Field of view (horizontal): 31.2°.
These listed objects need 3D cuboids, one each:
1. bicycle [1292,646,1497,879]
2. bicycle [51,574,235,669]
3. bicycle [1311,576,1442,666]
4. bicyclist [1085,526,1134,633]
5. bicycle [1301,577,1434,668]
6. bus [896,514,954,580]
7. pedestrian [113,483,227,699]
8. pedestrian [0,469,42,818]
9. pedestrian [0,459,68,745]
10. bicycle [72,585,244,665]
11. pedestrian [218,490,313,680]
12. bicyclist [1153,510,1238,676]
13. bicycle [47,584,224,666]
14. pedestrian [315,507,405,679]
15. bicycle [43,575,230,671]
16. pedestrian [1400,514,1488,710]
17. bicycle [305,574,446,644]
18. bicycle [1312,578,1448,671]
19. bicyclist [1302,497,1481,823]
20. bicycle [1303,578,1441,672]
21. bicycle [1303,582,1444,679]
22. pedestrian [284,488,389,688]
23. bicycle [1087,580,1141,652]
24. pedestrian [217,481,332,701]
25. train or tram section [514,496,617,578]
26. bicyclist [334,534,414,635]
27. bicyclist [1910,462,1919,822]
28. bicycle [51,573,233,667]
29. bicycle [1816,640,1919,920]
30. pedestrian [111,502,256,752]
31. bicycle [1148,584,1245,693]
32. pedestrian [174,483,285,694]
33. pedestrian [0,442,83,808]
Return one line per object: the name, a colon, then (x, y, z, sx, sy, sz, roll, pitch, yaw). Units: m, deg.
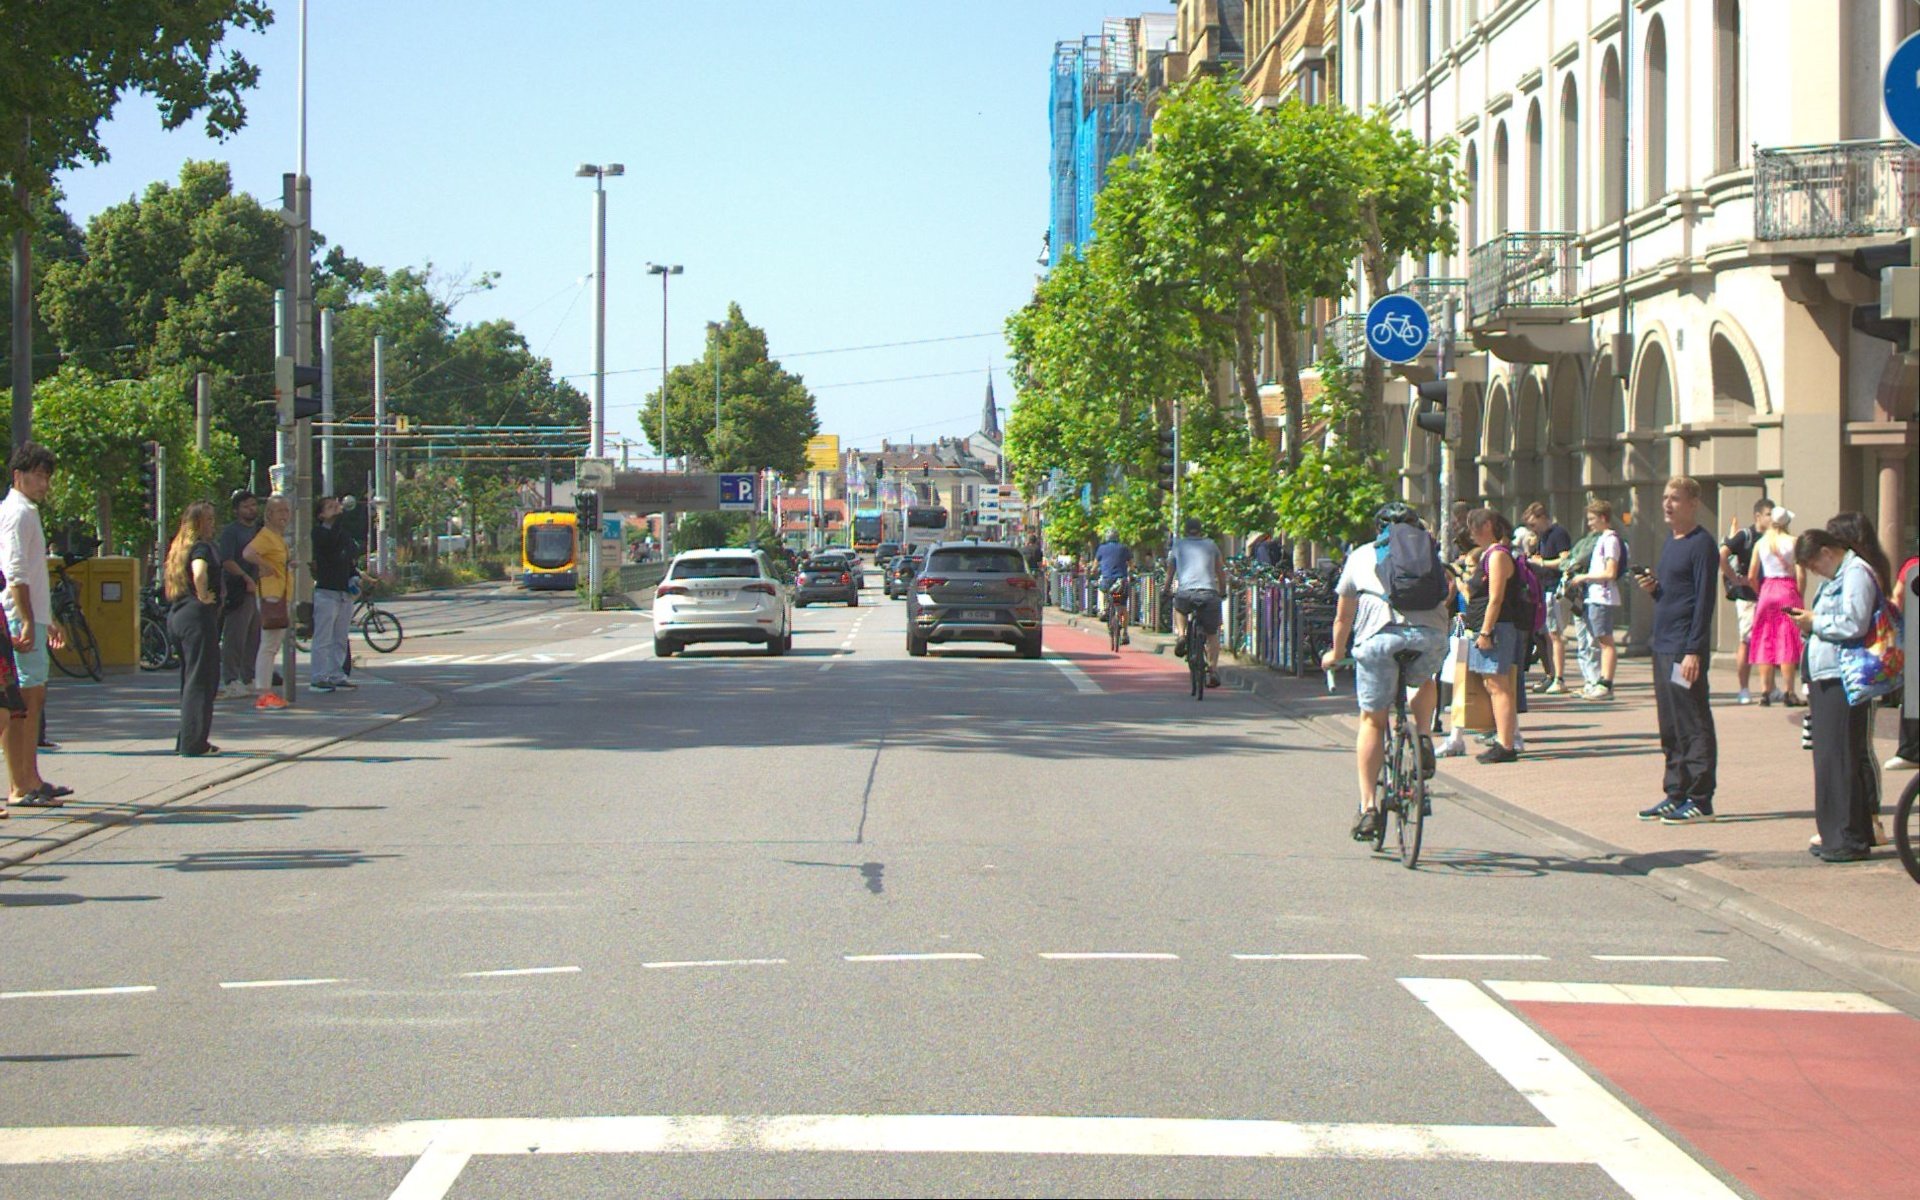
bicycle: (2.025, 0.734, 16.266, 0.630, 0.976, 2.089, 2, 0, -1)
bicycle: (-9.604, 0.250, 40.459, 2.081, 1.086, 0.685, 0, 0, -12)
bicycle: (4.710, 0.237, 38.920, 1.420, 0.976, 0.401, -1, 2, 0)
bicyclist: (2.176, -0.304, 50.063, 0.647, 1.545, 0.817, 0, 1, -1)
bicycle: (4.559, 0.246, 38.484, 1.420, 0.976, 0.445, -1, 2, 0)
bus: (-2.000, -2.915, 191.221, 2.994, 3.581, 11.745, 0, 1, -1)
pedestrian: (-6.881, -0.080, 29.955, 0.633, 1.852, 0.730, 1, 0, 29)
pedestrian: (-5.080, 0.215, 17.596, 0.576, 1.752, 0.638, 0, 0, 1)
pedestrian: (-6.360, 0.005, 22.686, 0.633, 1.852, 0.686, 1, 0, 20)
bicycle: (-10.096, 0.313, 43.336, 2.081, 0.976, 0.685, 0, 0, -12)
pedestrian: (-6.737, -0.147, 33.358, 0.618, 1.817, 0.662, 1, 0, 29)
bicyclist: (2.327, -0.077, 34.092, 0.774, 1.629, 0.851, 0, 1, 0)
bicycle: (-10.086, 0.301, 42.111, 2.081, 0.976, 0.685, 0, 0, -12)
pedestrian: (-5.857, -0.073, 33.556, 0.618, 1.662, 0.591, 1, 0, 29)
bicycle: (-9.514, 0.260, 39.783, 2.081, 1.086, 0.685, 0, 0, -12)
pedestrian: (4.233, 0.104, 30.074, 0.582, 1.668, 0.605, -3, 1, -2)
bicycle: (-8.724, 0.136, 51.335, 1.961, 1.022, 0.679, 0, 1, -22)
bicycle: (4.585, 0.261, 37.536, 1.420, 0.976, 0.445, -1, 2, 0)
bicyclist: (2.035, 0.273, 16.326, 0.630, 1.476, 1.198, 2, 0, -1)
bicycle: (4.439, 0.271, 37.074, 1.420, 0.976, 0.445, -1, 2, 0)
bicycle: (4.354, 0.319, 36.252, 1.420, 0.976, 0.445, -1, 2, 0)
pedestrian: (-5.793, -0.115, 31.976, 0.633, 1.828, 0.730, 1, 0, 29)
bicycle: (2.235, 0.219, 50.067, 0.647, 0.994, 2.031, 0, 1, -1)
pedestrian: (-5.670, -0.079, 28.455, 0.633, 1.788, 0.730, 1, 0, 20)
train or tram section: (-16.766, -2.710, 146.729, 2.613, 3.337, 11.001, 1, 1, 3)
bicyclist: (-8.750, -0.235, 51.347, 1.048, 1.497, 0.741, 0, 1, -20)
bicyclist: (4.273, 0.338, 13.448, 0.573, 1.791, 0.857, -3, 2, -35)
bicycle: (-9.768, 0.231, 41.109, 2.081, 1.086, 0.685, 0, 0, -12)
bicycle: (4.282, 0.719, 13.458, 0.600, 1.078, 1.839, -3, 2, -35)
pedestrian: (-5.031, 0.166, 22.294, 0.633, 1.590, 0.686, 1, 0, 20)
bicycle: (2.331, 0.365, 34.119, 0.774, 1.002, 2.330, 0, 1, 0)
pedestrian: (-6.499, -0.107, 30.607, 0.633, 1.852, 0.730, 1, 0, 29)
pedestrian: (-5.025, 0.122, 18.331, 0.532, 1.912, 0.560, 0, 3, 1)
